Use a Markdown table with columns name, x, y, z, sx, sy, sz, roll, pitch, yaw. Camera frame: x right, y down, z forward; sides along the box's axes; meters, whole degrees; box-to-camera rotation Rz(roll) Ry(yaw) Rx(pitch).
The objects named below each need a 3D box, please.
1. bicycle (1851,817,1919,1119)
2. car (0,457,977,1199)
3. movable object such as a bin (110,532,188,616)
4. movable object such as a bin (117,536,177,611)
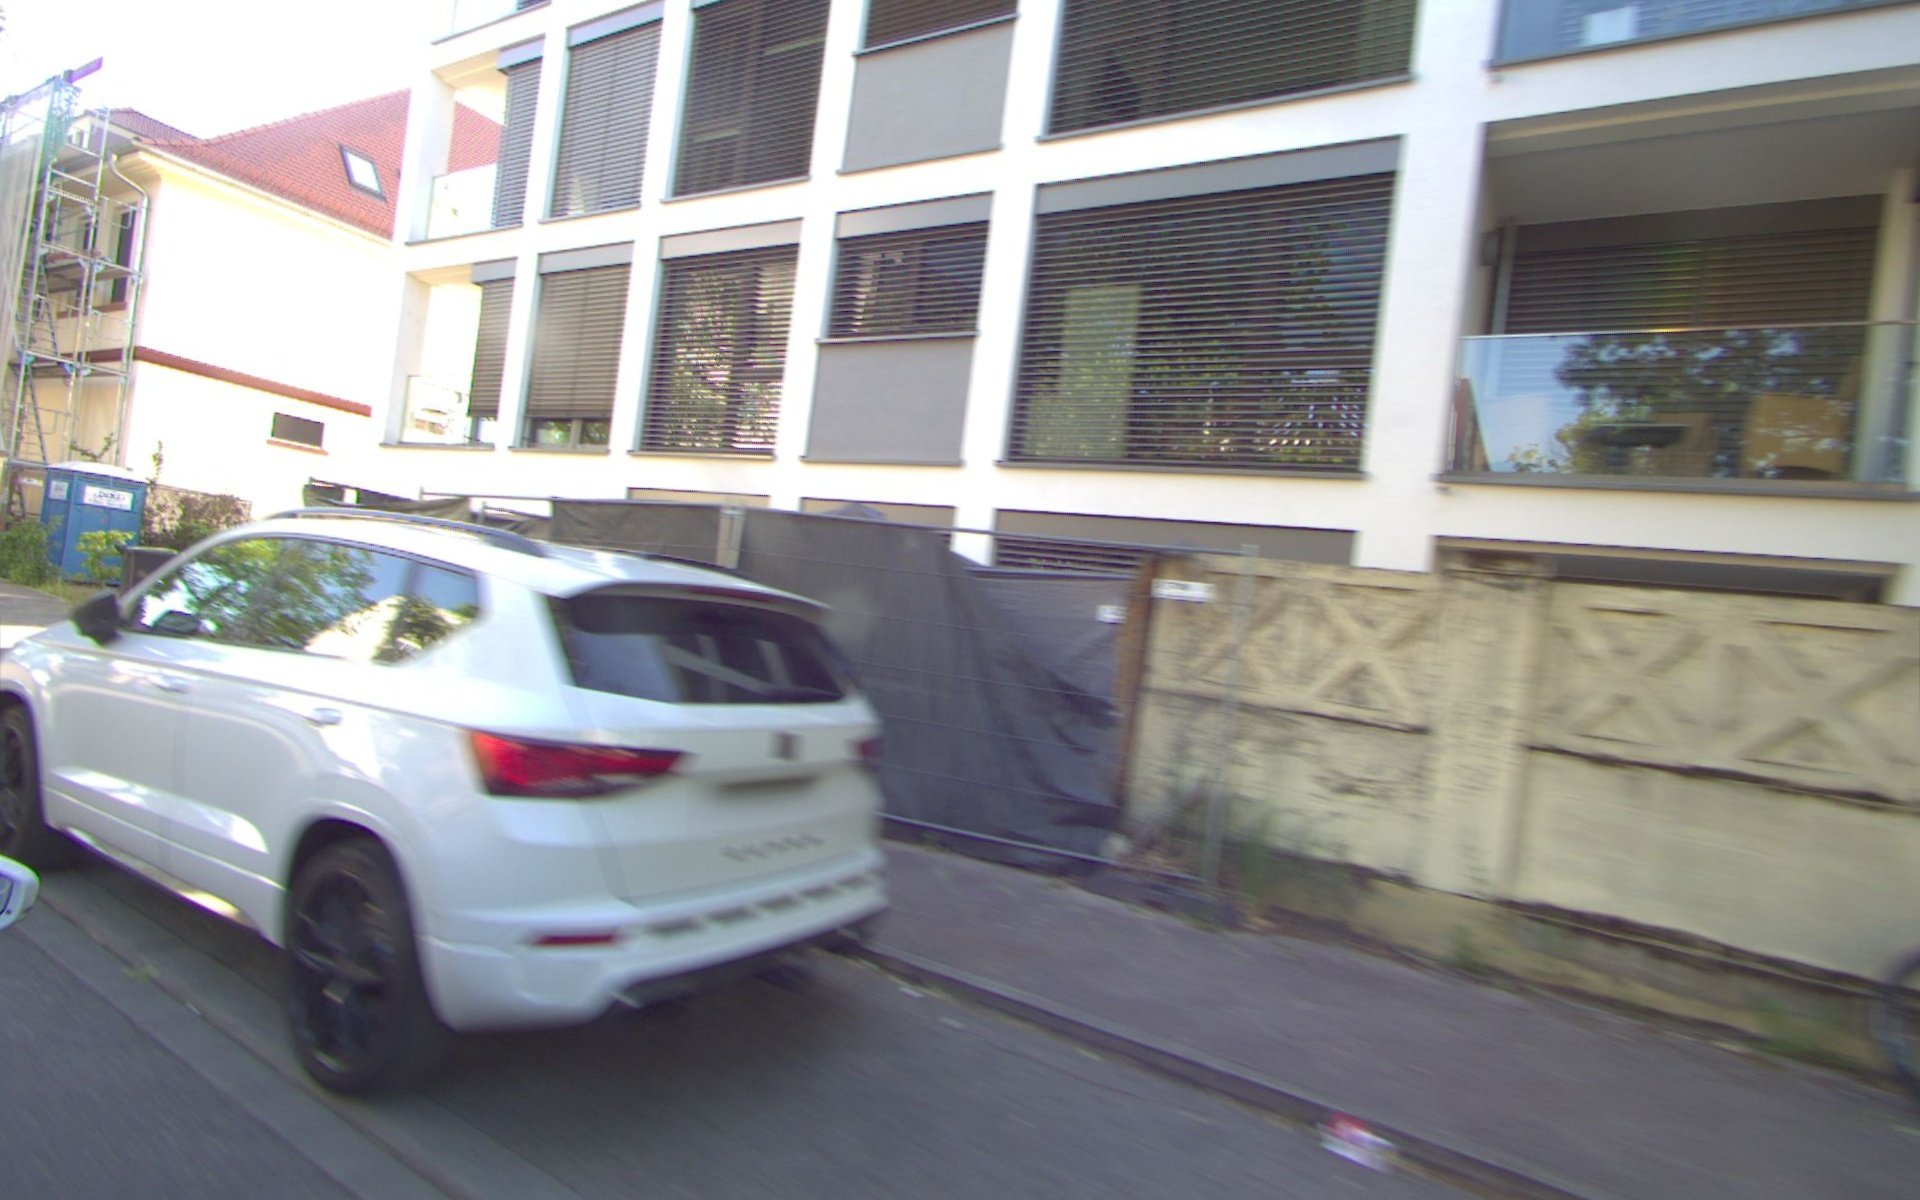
| name | x | y | z | sx | sy | sz | roll | pitch | yaw |
| --- | --- | --- | --- | --- | --- | --- | --- | --- | --- |
| bicycle | 4.307 | 1.468 | 3.410 | 1.801 | 1.053 | 0.337 | 7 | -1 | 32 |
| car | -2.215 | 0.489 | 4.068 | 4.057 | 1.634 | 1.797 | 7 | -2 | 31 |
| movable object such as a bin | -11.141 | -0.358 | 13.830 | 0.555 | 1.039 | 0.598 | 7 | -2 | 36 |
| movable object such as a bin | -11.538 | -0.374 | 14.280 | 0.503 | 0.974 | 0.435 | 7 | -2 | 36 |
